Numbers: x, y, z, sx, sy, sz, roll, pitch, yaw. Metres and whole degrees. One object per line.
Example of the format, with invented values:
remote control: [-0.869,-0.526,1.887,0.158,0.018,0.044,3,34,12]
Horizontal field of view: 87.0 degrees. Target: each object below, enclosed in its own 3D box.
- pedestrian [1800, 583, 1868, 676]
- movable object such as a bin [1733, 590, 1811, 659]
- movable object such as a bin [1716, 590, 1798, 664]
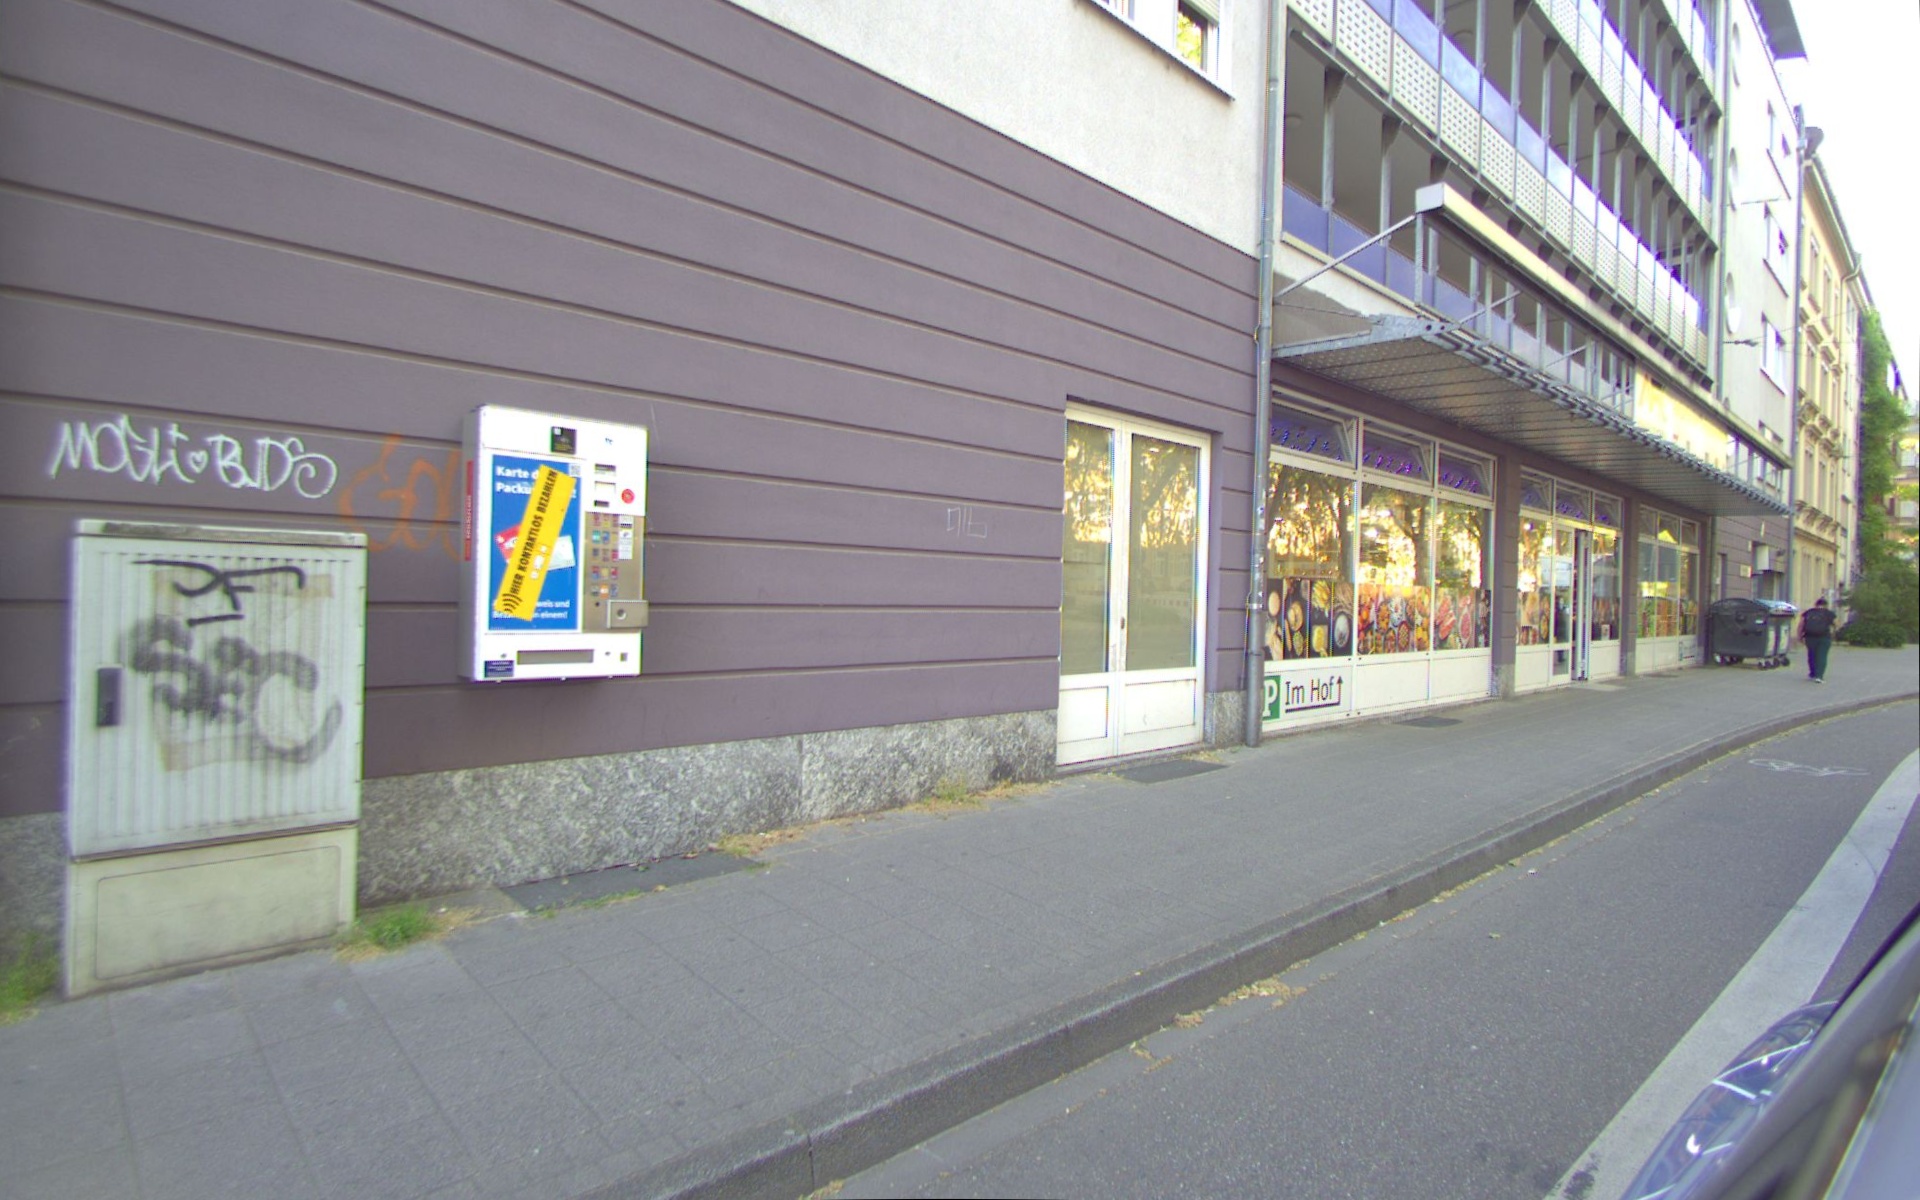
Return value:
pedestrian: [15.693,0.512,18.170,0.862,1.612,0.613,2,1,44]
movable object such as a bin: [17.774,0.512,22.153,0.923,1.444,1.158,1,1,-40]
movable object such as a bin: [16.336,0.530,20.753,0.923,1.444,1.158,1,1,-40]
